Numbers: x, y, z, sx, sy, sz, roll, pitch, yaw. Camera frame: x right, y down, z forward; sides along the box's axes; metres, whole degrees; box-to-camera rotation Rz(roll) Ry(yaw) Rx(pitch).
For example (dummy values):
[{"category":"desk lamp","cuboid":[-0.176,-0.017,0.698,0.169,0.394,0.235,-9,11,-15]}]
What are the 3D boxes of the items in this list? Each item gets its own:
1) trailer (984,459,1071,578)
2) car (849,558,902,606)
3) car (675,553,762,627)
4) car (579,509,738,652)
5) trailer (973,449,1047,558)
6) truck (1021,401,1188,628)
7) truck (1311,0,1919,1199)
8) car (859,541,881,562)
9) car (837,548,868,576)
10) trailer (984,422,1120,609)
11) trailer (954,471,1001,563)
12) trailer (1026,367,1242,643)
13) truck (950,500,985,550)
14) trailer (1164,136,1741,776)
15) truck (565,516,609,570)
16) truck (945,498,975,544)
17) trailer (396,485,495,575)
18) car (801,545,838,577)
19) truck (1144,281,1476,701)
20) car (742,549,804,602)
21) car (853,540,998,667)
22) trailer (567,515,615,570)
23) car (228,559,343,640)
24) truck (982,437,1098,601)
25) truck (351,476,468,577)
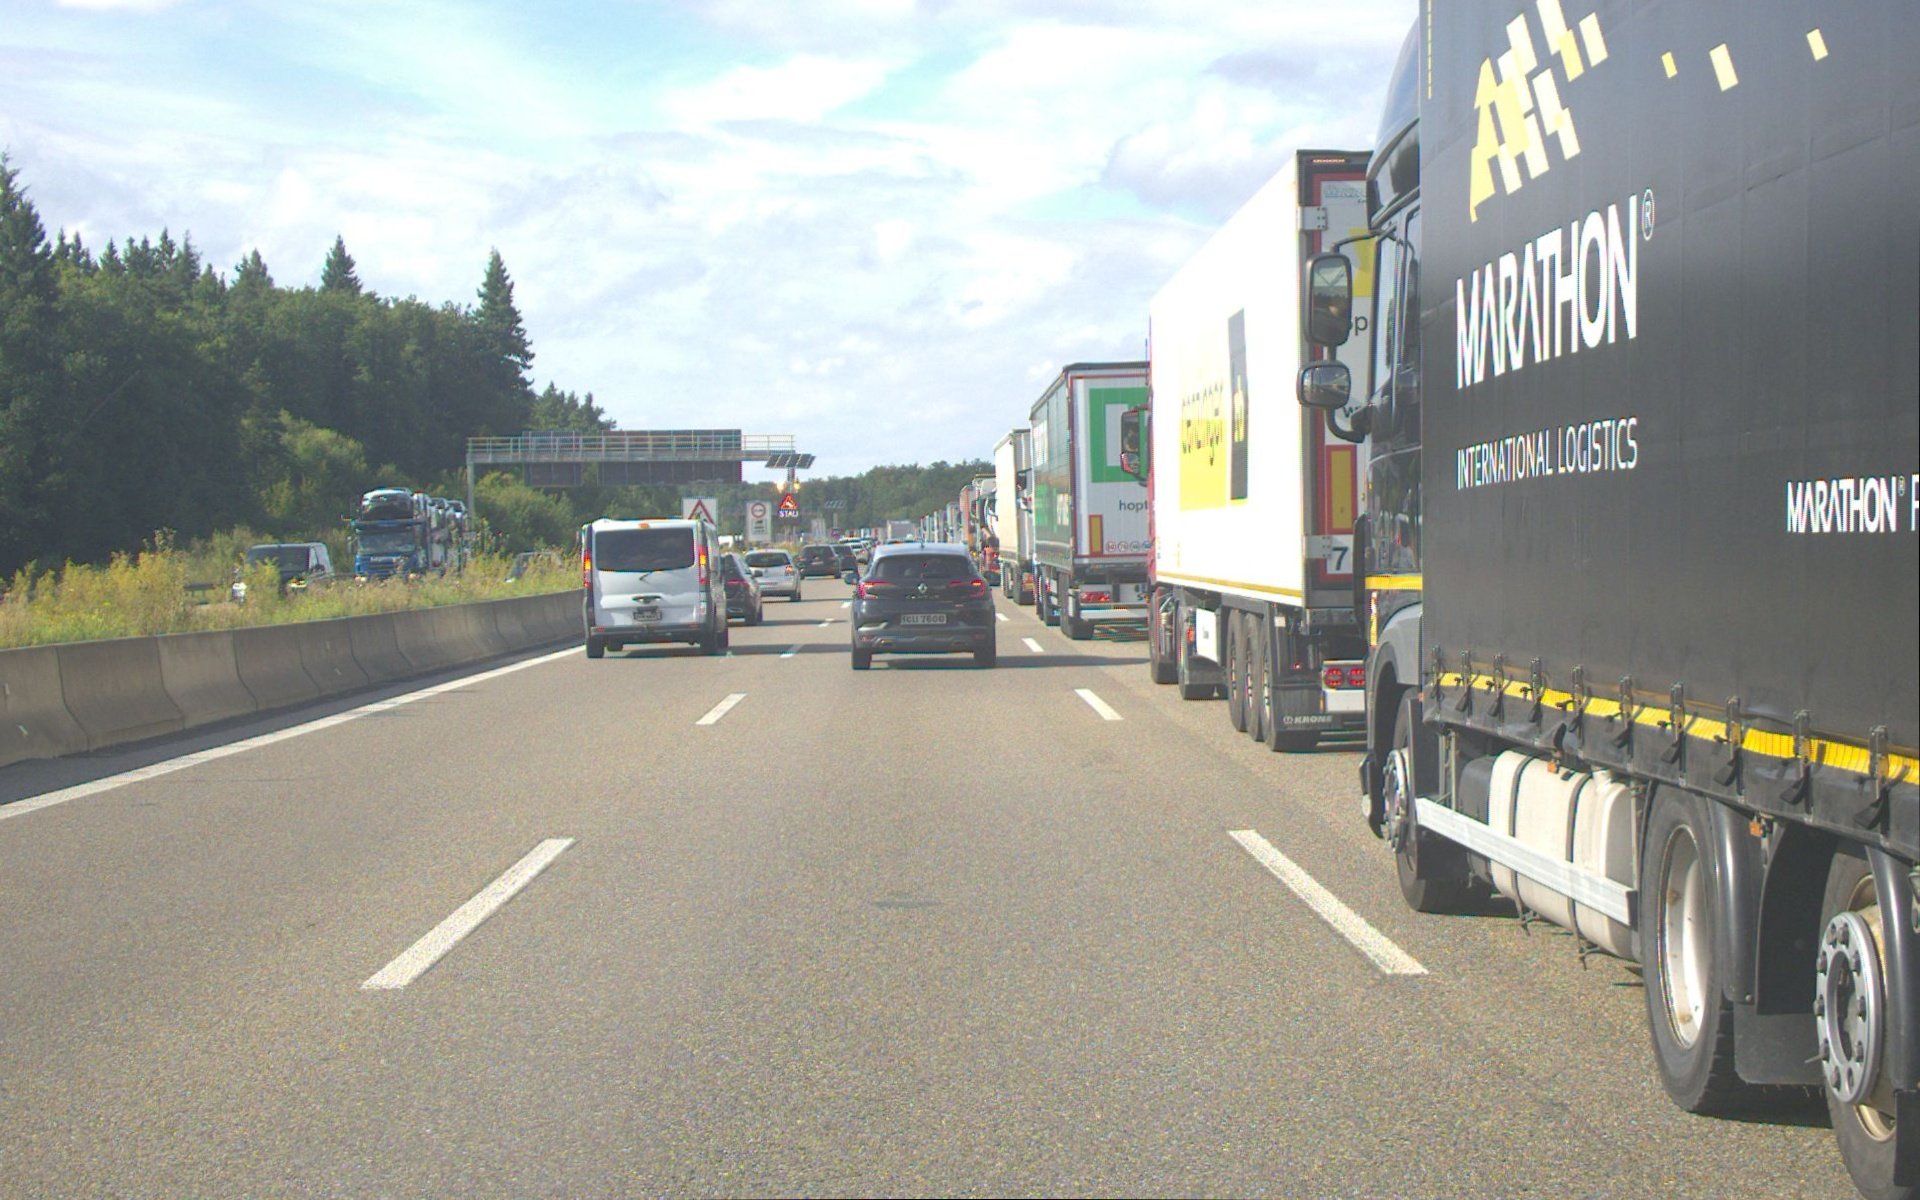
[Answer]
[{"category":"trailer","cuboid":[2.150,-2.607,112.708,2.541,3.641,10.627,-1,1,0]},{"category":"car","cuboid":[-2.614,-0.567,106.568,1.581,1.391,3.208,2,1,-1]},{"category":"car","cuboid":[-4.789,-0.207,68.484,1.500,1.391,3.476,2,1,-1]},{"category":"car","cuboid":[-4.450,-0.314,51.415,1.933,1.972,5.099,2,1,-1]},{"category":"trailer","cuboid":[2.004,-3.897,141.611,2.802,4.229,11.057,-2,1,0]},{"category":"truck","cuboid":[2.544,-1.504,62.584,2.647,3.855,6.996,-1,1,0]},{"category":"truck","cuboid":[3.088,-0.707,10.330,2.740,4.024,10.203,0,1,-1]},{"category":"car","cuboid":[-5.873,-3.169,225.553,1.361,1.296,3.085,2,1,-1]},{"category":"car","cuboid":[-5.226,-1.851,167.664,1.434,1.305,3.533,2,1,-1]},{"category":"trailer","cuboid":[2.097,-1.988,82.725,2.703,4.068,12.945,-2,1,0]},{"category":"trailer","cuboid":[0.814,-3.925,164.592,2.150,4.244,8.440,-1,1,0]},{"category":"trailer","cuboid":[2.598,-1.429,55.464,2.661,3.855,13.395,-1,1,0]},{"category":"truck","cuboid":[0.438,-4.567,210.120,1.993,2.922,4.981,2,1,0]},{"category":"trailer","cuboid":[3.416,-0.961,27.655,2.792,3.925,13.070,0,1,0]},{"category":"truck","cuboid":[-22.663,-3.480,209.134,2.317,3.262,6.106,0,1,-3]},{"category":"truck","cuboid":[0.002,-5.454,237.061,1.993,3.042,4.981,2,1,0]},{"category":"trailer","cuboid":[-21.169,-2.844,141.821,2.798,3.516,8.954,-1,1,-1]},{"category":"car","cuboid":[-5.951,-1.643,145.364,1.434,1.305,3.533,2,1,-1]},{"category":"truck","cuboid":[3.421,-1.051,35.029,2.802,3.925,5.826,0,1,0]},{"category":"car","cuboid":[-5.110,-0.682,94.131,1.500,1.391,3.476,2,1,-1]},{"category":"car","cuboid":[-0.441,0.013,43.557,1.696,1.478,4.160,2,1,-1]},{"category":"trailer","cuboid":[-22.890,-3.565,213.430,2.321,3.273,10.877,0,1,-3]},{"category":"car","cuboid":[-16.419,-0.039,83.901,1.878,1.870,4.490,2,1,0]},{"category":"truck","cuboid":[2.037,-2.079,89.775,2.708,4.046,6.362,-2,1,0]},{"category":"truck","cuboid":[-21.010,-2.765,131.760,2.831,3.676,11.133,-1,1,-1]}]
